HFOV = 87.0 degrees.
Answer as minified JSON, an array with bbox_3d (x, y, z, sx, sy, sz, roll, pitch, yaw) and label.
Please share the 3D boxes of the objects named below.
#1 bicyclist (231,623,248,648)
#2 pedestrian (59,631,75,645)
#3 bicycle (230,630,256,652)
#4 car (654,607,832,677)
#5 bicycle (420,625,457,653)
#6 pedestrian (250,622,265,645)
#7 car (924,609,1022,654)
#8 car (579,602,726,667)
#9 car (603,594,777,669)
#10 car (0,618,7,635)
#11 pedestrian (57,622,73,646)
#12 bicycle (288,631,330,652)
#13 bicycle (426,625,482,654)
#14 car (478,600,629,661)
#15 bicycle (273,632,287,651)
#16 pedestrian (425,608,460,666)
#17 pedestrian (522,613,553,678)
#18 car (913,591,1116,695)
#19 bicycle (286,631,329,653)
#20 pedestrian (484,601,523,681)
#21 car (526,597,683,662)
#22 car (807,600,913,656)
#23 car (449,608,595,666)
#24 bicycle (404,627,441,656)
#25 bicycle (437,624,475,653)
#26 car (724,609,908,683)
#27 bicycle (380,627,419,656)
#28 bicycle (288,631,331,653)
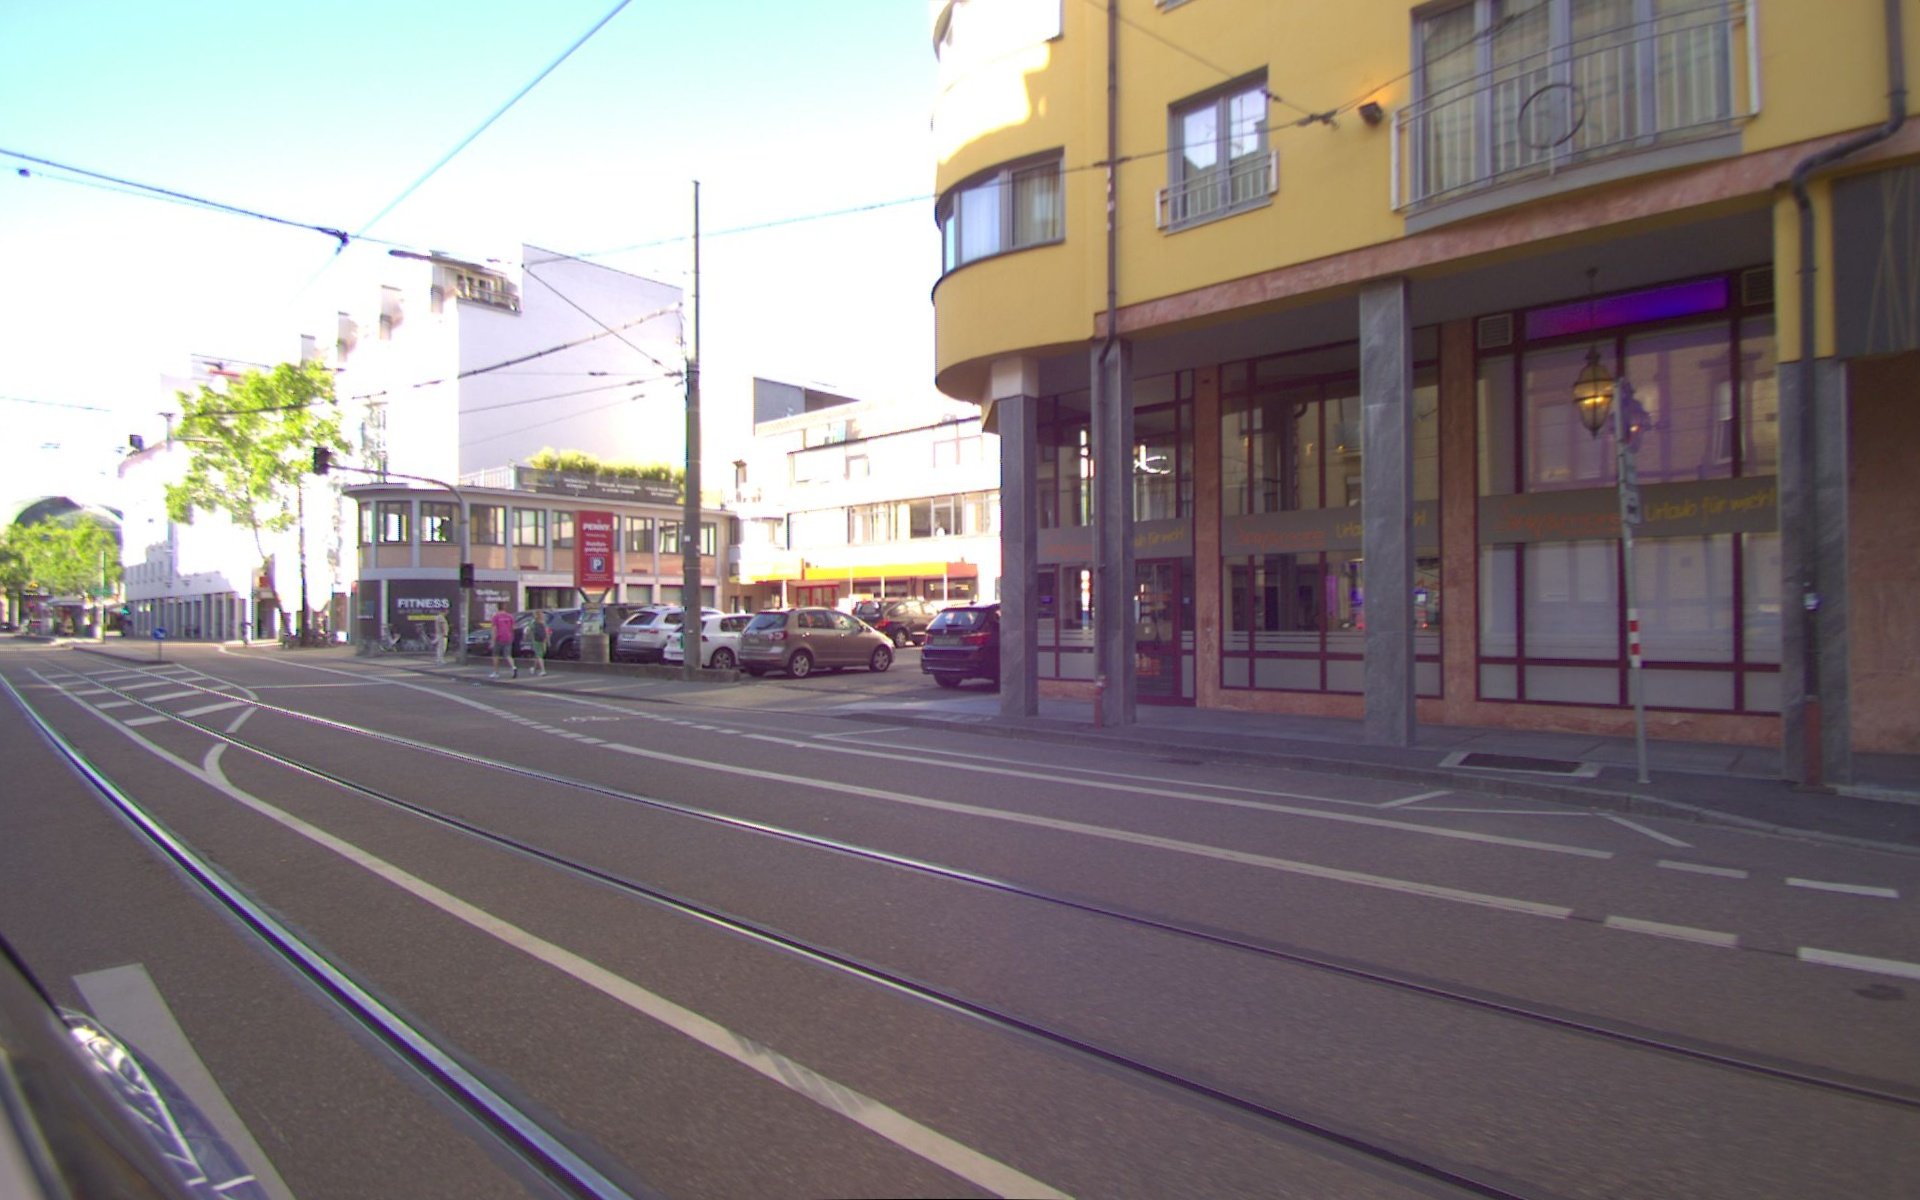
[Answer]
[{"bbox_3d":[-40.132,1.960,56.389,0.718,1.372,0.557,0,-1,39],"label":"bicyclist"},{"bbox_3d":[-65.044,2.772,73.714,0.747,0.996,0.784,-2,-2,42],"label":"pedestrian"},{"bbox_3d":[-40.009,2.289,56.459,2.003,1.131,0.558,-1,8,41],"label":"bicycle"},{"bbox_3d":[-5.416,1.015,25.631,1.785,1.621,4.188,-1,-1,42],"label":"car"},{"bbox_3d":[-20.116,1.502,39.012,1.875,1.044,0.459,-2,-2,35],"label":"bicycle"},{"bbox_3d":[-51.858,2.456,74.716,0.731,1.657,0.737,-2,-2,42],"label":"pedestrian"},{"bbox_3d":[0.511,1.124,36.230,1.626,1.493,3.600,1,-1,39],"label":"car"},{"bbox_3d":[-8.815,0.947,29.212,1.785,1.685,3.650,-2,0,42],"label":"car"},{"bbox_3d":[-7.137,0.824,27.050,1.785,1.825,4.188,1,-1,41],"label":"car"},{"bbox_3d":[-122.522,3.431,128.421,3.997,2.029,1.861,-3,-1,40],"label":"car"},{"bbox_3d":[-62.510,2.380,70.695,0.747,1.657,0.784,-1,-2,43],"label":"pedestrian"},{"bbox_3d":[-34.836,2.222,54.154,1.851,1.085,0.512,1,-2,-43],"label":"bicycle"},{"bbox_3d":[-18.909,1.460,37.832,1.847,1.044,0.427,0,-2,-23],"label":"bicycle"},{"bbox_3d":[-13.027,0.950,32.594,1.785,1.826,4.188,-1,-1,41],"label":"car"},{"bbox_3d":[-35.090,2.132,52.197,0.463,0.939,1.757,0,-1,-38],"label":"bicycle"},{"bbox_3d":[-16.202,1.145,31.671,0.778,1.777,0.707,-1,-1,34],"label":"pedestrian"},{"bbox_3d":[-10.740,1.155,25.755,0.499,1.629,0.566,-2,-2,40],"label":"pedestrian"},{"bbox_3d":[1.173,0.784,19.966,1.785,1.826,4.188,-1,-1,42],"label":"car"},{"bbox_3d":[-33.614,2.174,52.148,1.850,1.085,0.465,1,-2,-40],"label":"bicycle"},{"bbox_3d":[-11.361,1.011,25.192,0.709,1.961,0.631,-2,-2,40],"label":"pedestrian"},{"bbox_3d":[-10.743,0.859,30.785,1.785,1.826,4.188,-2,-1,42],"label":"car"},{"bbox_3d":[-3.492,0.945,35.721,1.694,1.762,3.543,-2,0,39],"label":"car"},{"bbox_3d":[-14.785,1.195,34.312,1.785,1.777,4.189,-2,-1,41],"label":"car"},{"bbox_3d":[-20.517,1.593,38.609,1.875,1.088,0.459,-2,-2,35],"label":"bicycle"},{"bbox_3d":[-19.532,1.488,39.209,1.875,1.095,0.459,-1,-1,35],"label":"bicycle"},{"bbox_3d":[-3.316,1.003,23.999,1.785,1.560,4.189,0,0,41],"label":"car"},{"bbox_3d":[-21.253,1.569,38.375,1.875,1.044,0.519,-2,-2,35],"label":"bicycle"},{"bbox_3d":[-33.812,2.187,52.620,1.850,1.085,0.465,1,-2,-40],"label":"bicycle"}]
